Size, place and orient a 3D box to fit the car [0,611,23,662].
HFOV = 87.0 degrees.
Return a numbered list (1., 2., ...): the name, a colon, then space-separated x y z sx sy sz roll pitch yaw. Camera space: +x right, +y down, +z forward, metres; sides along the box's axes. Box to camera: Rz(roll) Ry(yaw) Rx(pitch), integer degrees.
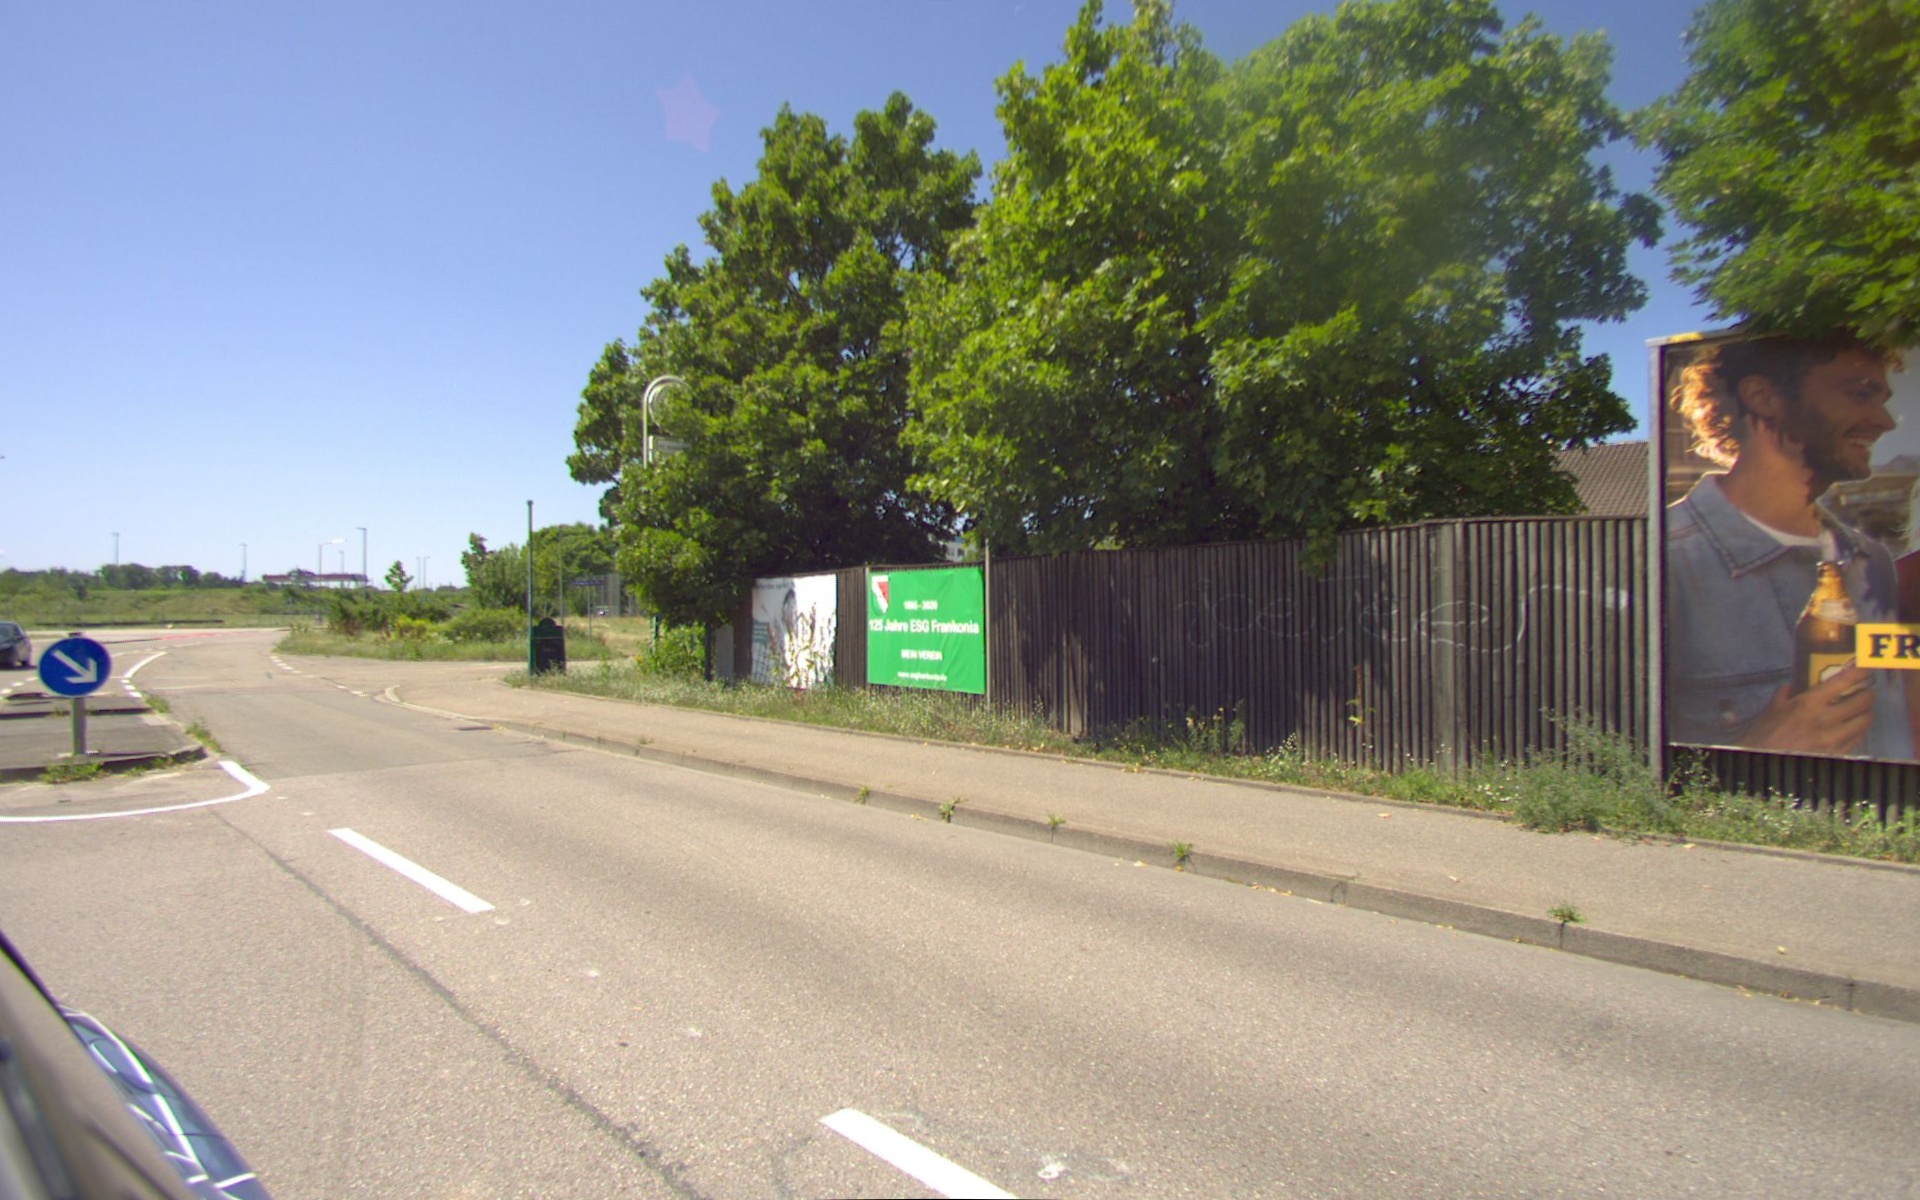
1. car: -29.667 1.074 30.675 1.629 1.478 4.166 1 -2 -40
